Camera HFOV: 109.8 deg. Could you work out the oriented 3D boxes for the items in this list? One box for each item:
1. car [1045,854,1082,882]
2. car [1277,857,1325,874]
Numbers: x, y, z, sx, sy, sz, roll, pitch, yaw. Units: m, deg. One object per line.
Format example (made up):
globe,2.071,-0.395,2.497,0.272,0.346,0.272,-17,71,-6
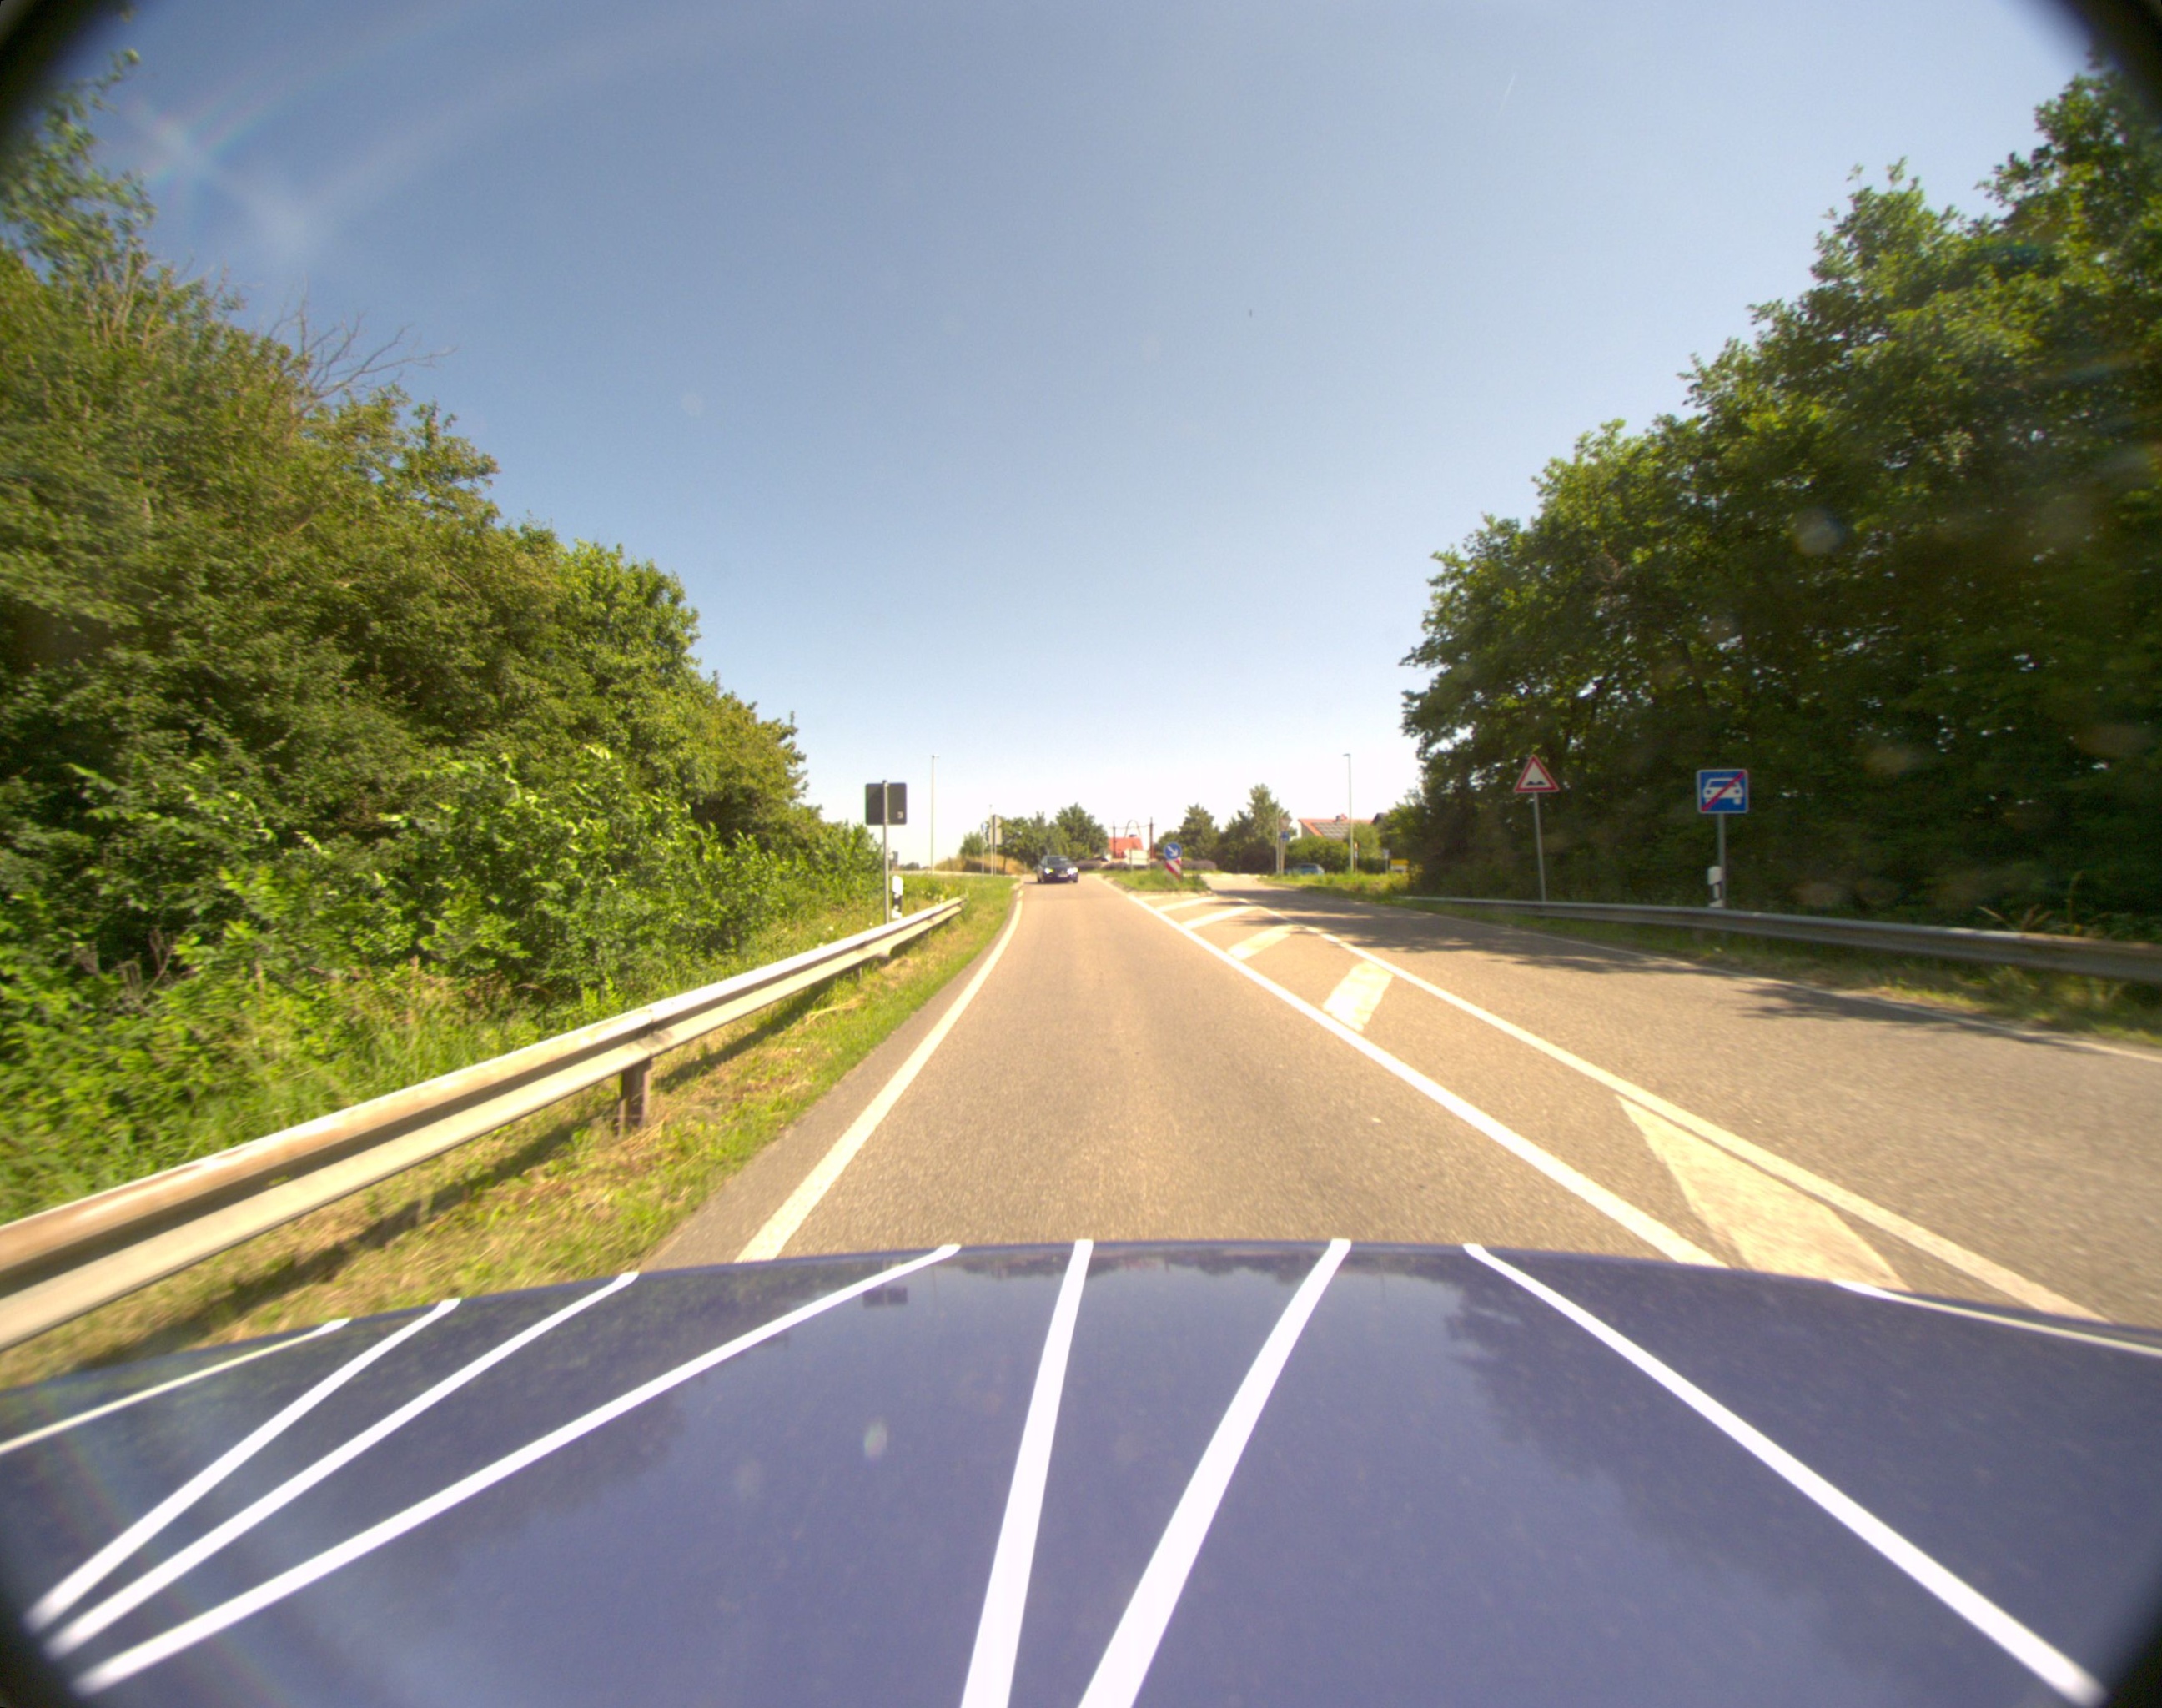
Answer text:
car,-0.959,0.701,40.107,1.807,1.390,4.179,-1,0,-2
car,20.389,1.050,70.426,3.989,1.567,1.653,0,-1,29
